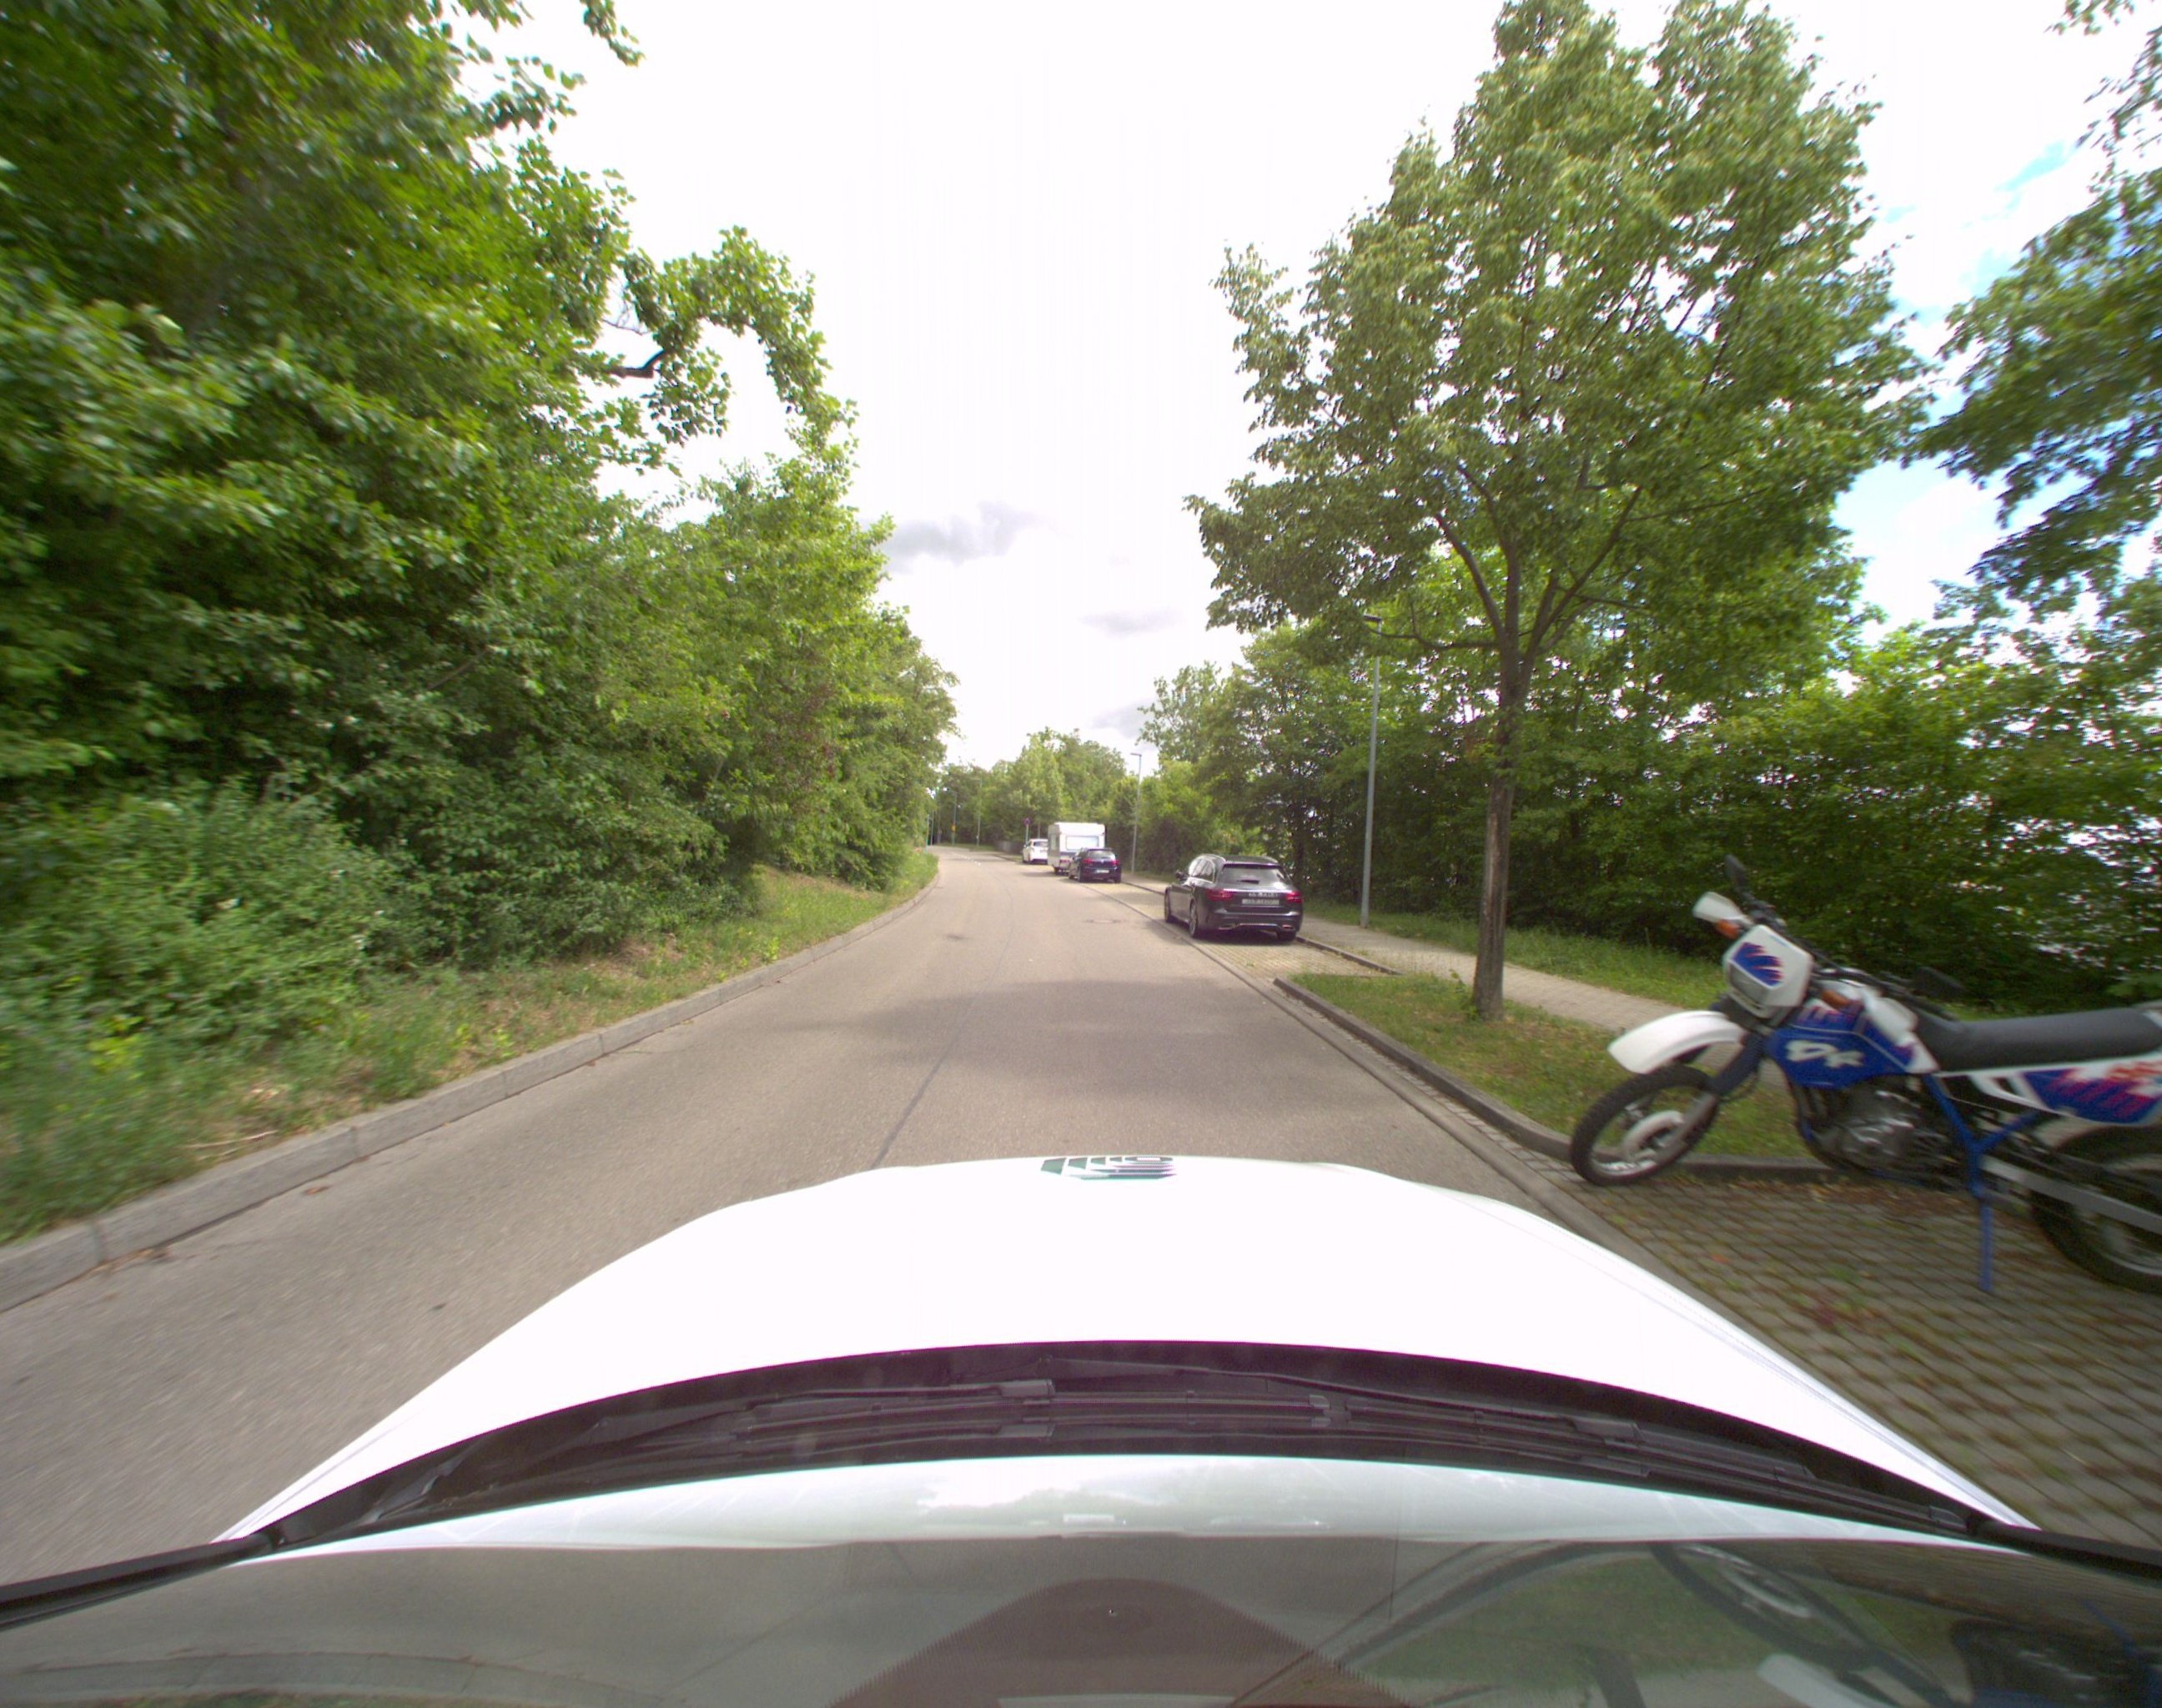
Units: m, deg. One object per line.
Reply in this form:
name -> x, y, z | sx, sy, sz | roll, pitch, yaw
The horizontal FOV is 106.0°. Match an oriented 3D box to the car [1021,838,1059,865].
car -> -2.696, -0.210, 52.774 | 1.806, 1.599, 4.354 | 1, 1, -12

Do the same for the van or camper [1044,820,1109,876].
van or camper -> -0.318, -0.328, 40.318 | 2.355, 2.553, 5.057 | 1, 1, -10

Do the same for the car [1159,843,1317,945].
car -> 2.726, 0.620, 15.271 | 1.888, 1.530, 4.542 | 2, 1, -2

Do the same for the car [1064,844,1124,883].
car -> 0.491, 0.351, 34.647 | 1.682, 1.451, 4.465 | 2, 1, -10

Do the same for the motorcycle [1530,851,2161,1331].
motorcycle -> 3.078, 0.730, 3.168 | 2.284, 1.476, 0.981 | 0, -1, 26
